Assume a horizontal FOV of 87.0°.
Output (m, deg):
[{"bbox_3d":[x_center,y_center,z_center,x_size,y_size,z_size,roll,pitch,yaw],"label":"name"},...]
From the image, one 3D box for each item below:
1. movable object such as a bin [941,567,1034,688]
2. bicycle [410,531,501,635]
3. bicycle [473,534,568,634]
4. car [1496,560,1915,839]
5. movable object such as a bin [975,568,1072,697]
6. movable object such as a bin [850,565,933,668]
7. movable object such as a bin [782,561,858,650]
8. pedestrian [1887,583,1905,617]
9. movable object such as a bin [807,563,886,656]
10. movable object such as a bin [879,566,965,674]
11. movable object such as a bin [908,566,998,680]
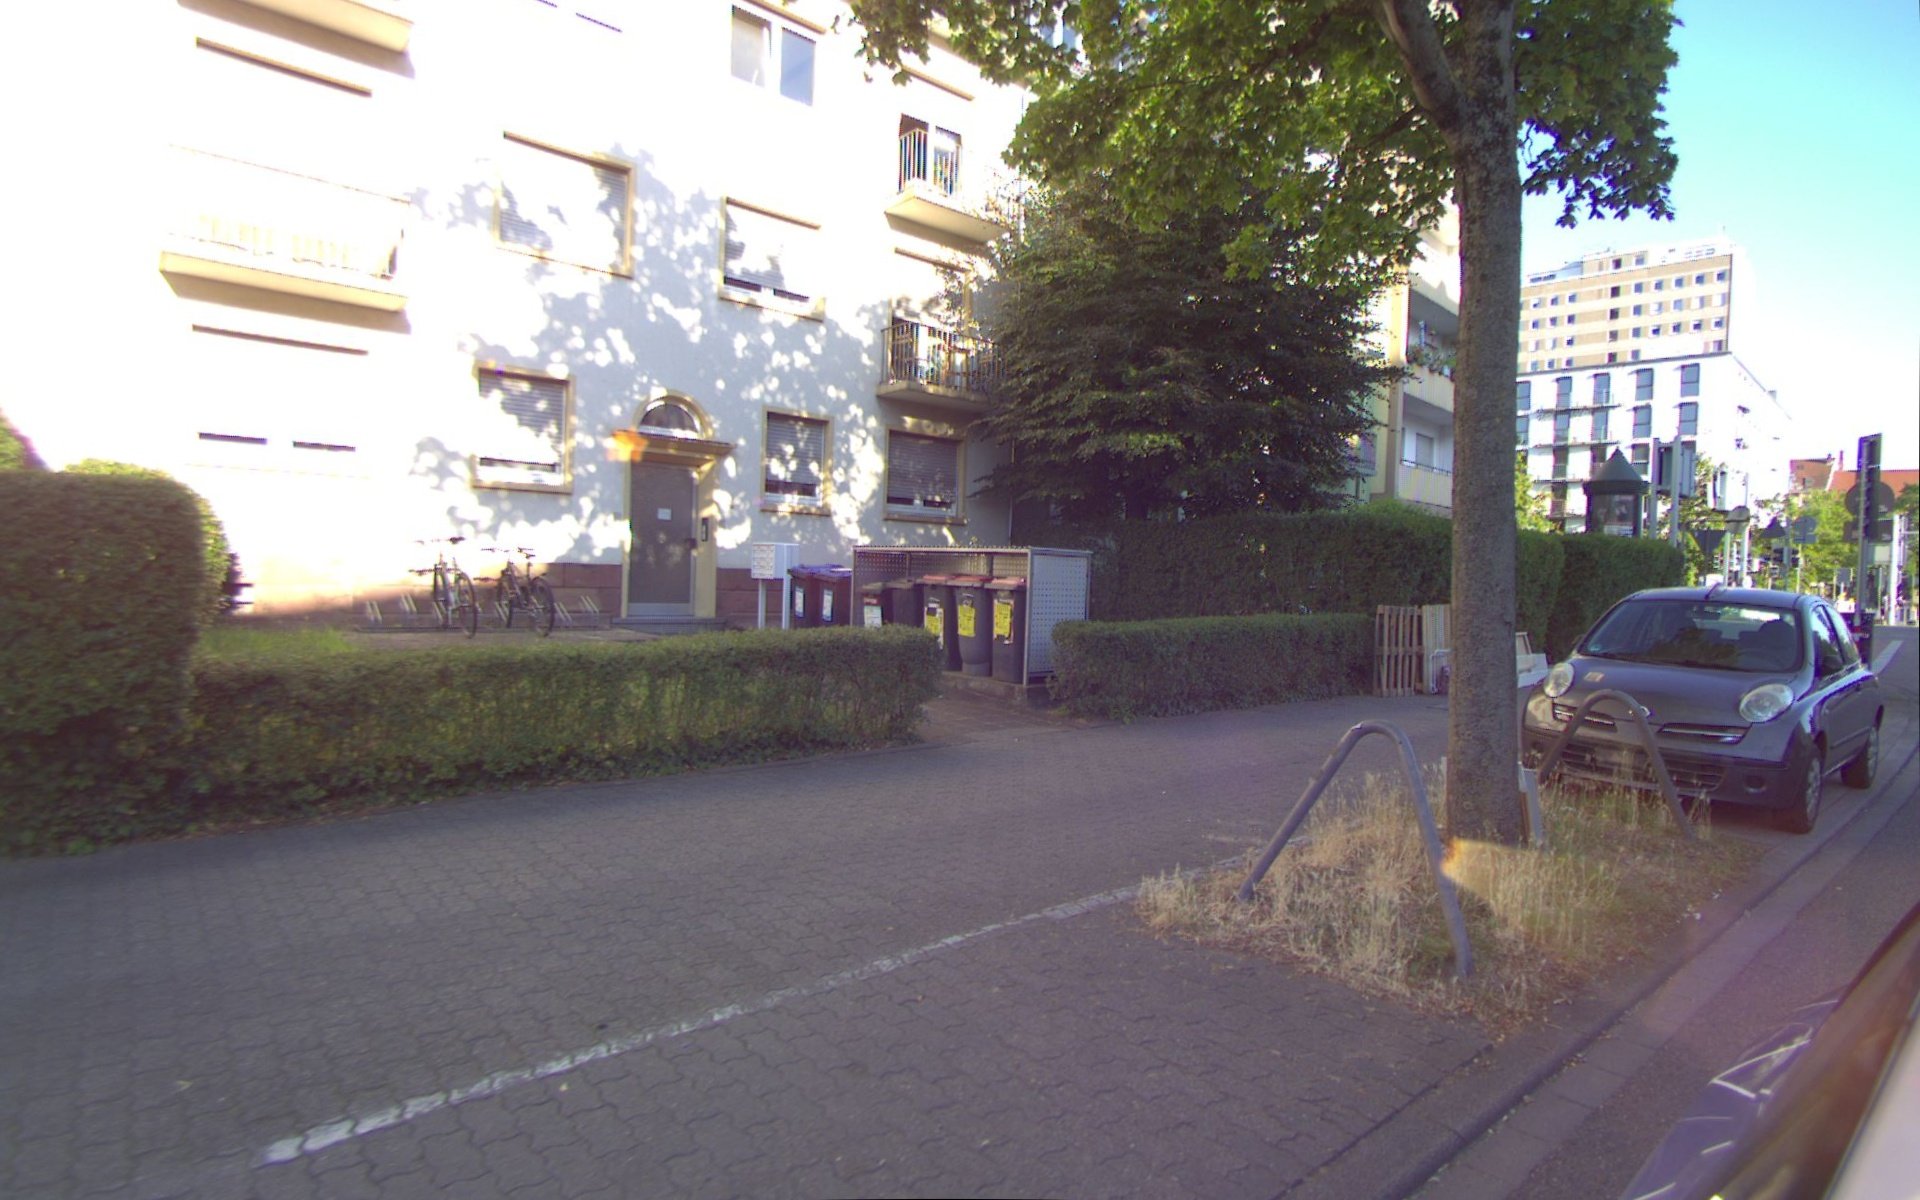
[{"bbox_3d":[0.298,0.282,10.921,0.814,1.236,0.554,1,1,-41],"label":"movable object such as a bin"},{"bbox_3d":[-5.510,-0.200,11.025,0.419,1.069,1.522,1,1,-45],"label":"bicycle"},{"bbox_3d":[-5.056,-0.198,11.594,0.419,1.069,1.649,1,1,-45],"label":"bicycle"},{"bbox_3d":[5.695,0.551,7.596,3.582,1.570,1.736,1,2,-41],"label":"car"},{"bbox_3d":[0.656,0.317,10.420,0.814,1.255,0.554,1,1,-41],"label":"movable object such as a bin"},{"bbox_3d":[-0.829,0.190,12.359,0.814,1.209,0.554,1,1,-41],"label":"movable object such as a bin"},{"bbox_3d":[-1.855,0.062,13.437,0.814,1.137,0.554,1,1,-41],"label":"movable object such as a bin"},{"bbox_3d":[52.365,0.005,56.615,0.493,1.900,0.598,2,1,20],"label":"pedestrian"},{"bbox_3d":[-1.455,0.114,13.030,0.814,1.137,0.554,1,1,-41],"label":"movable object such as a bin"},{"bbox_3d":[-0.444,0.217,11.865,0.814,1.209,0.554,1,1,-41],"label":"movable object such as a bin"},{"bbox_3d":[-0.077,0.246,11.395,0.814,1.217,0.554,1,1,-41],"label":"movable object such as a bin"}]
